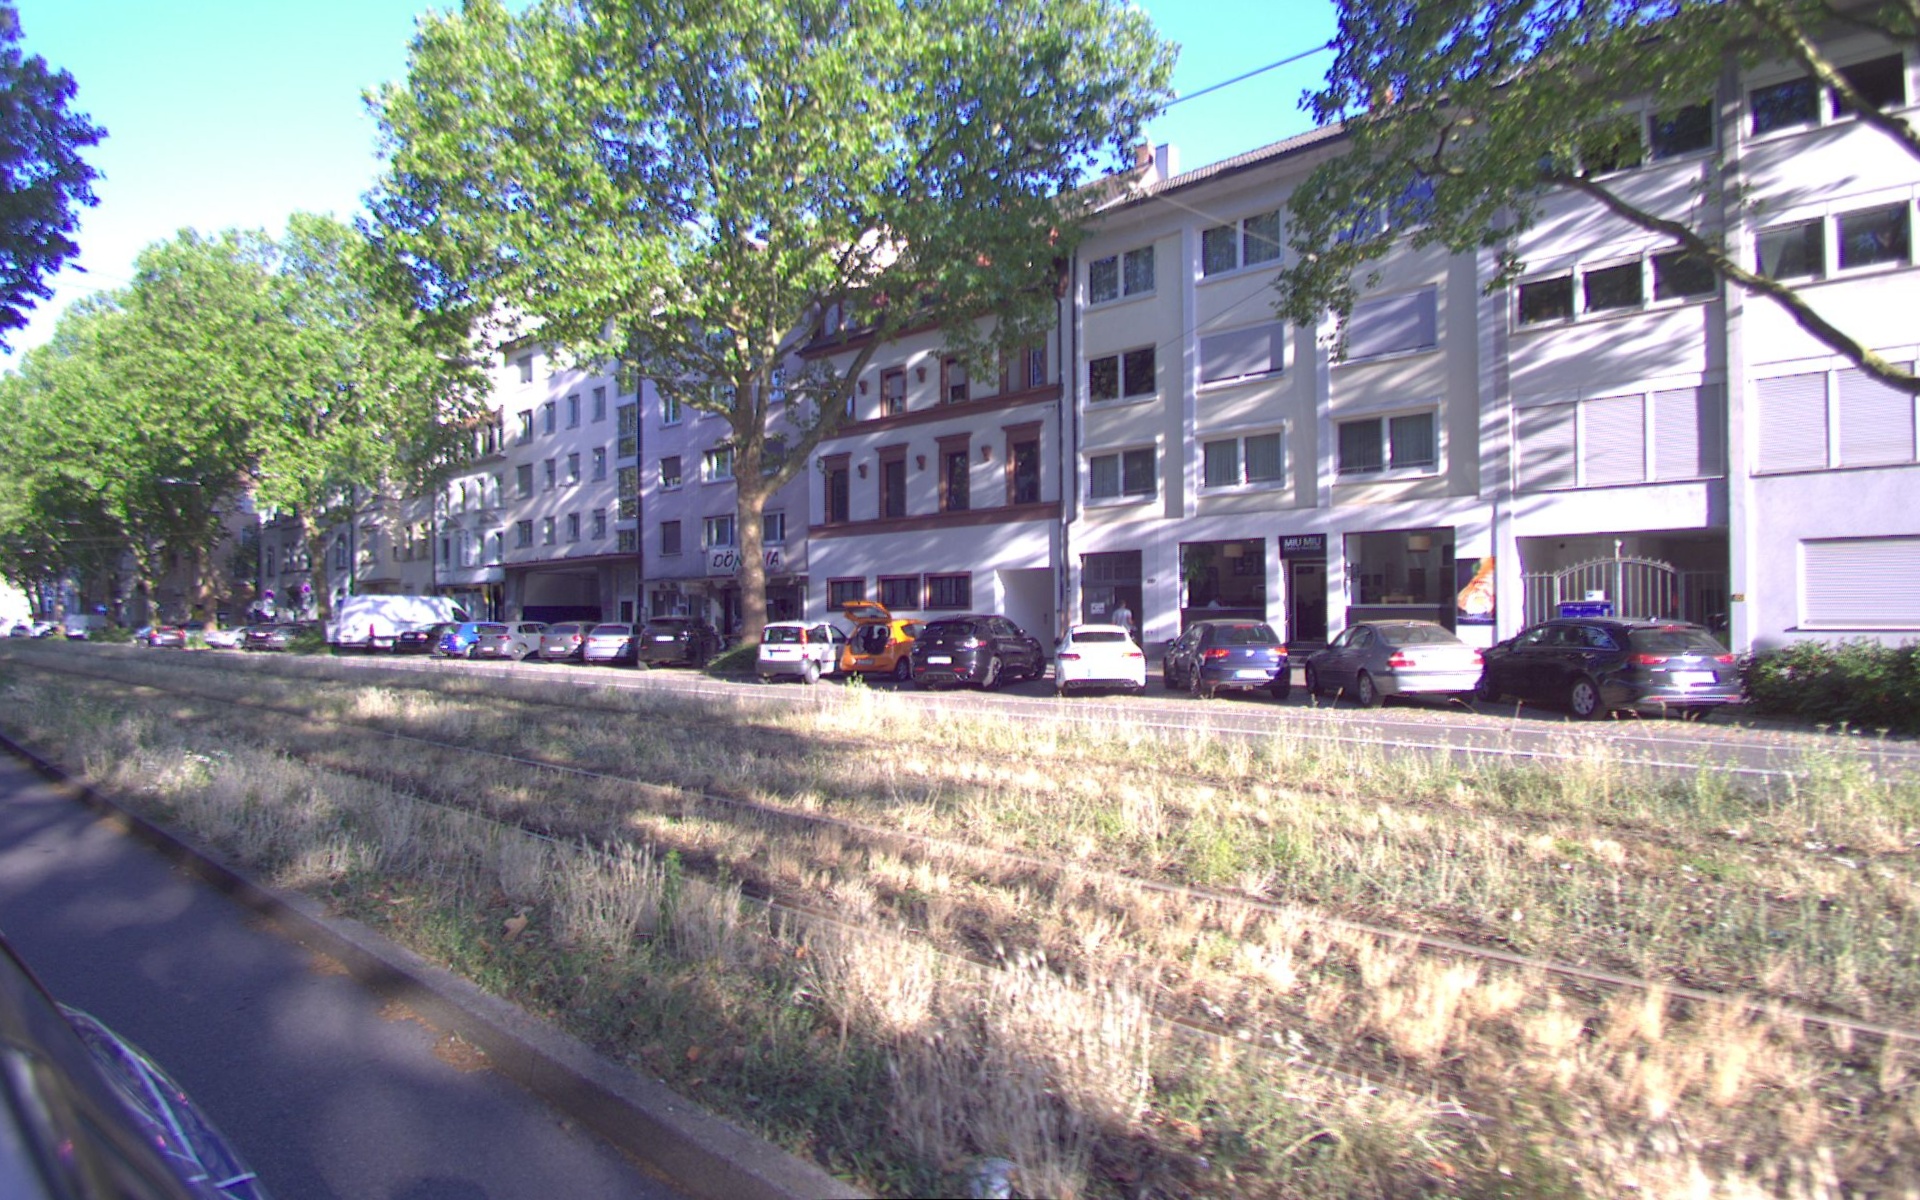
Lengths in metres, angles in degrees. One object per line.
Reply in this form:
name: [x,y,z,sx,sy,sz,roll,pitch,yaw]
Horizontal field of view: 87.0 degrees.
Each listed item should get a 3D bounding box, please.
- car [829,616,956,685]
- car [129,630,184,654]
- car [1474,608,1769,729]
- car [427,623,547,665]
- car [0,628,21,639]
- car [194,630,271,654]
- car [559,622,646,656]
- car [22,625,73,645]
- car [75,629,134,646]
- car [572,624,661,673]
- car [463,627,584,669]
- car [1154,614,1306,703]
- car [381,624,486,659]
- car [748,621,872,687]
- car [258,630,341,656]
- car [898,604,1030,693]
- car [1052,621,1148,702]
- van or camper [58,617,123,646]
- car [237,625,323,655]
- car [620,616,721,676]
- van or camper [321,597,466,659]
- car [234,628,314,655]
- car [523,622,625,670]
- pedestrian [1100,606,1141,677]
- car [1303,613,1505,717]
car: [-1.652,1.242,26.212,1.764,1.490,3.973,-1,1,21]
car: [-49.519,2.565,62.337,4.481,1.400,1.801,-2,-4,40]
car: [9.887,0.938,15.574,1.791,1.490,4.002,-2,1,-2]
car: [-19.000,1.724,40.790,1.854,1.431,3.950,-1,1,37]
car: [-134.592,4.795,143.448,4.000,1.431,1.972,-1,1,43]
car: [-44.679,2.550,62.253,1.806,1.400,3.669,-1,-1,10]
car: [-18.861,2.018,53.486,1.904,1.733,3.947,-1,-2,39]
car: [-99.744,3.817,110.693,1.971,2.029,4.001,-2,1,-2]
car: [-78.573,3.410,92.987,1.710,1.256,3.992,-2,2,7]
car: [-11.505,1.590,34.165,1.884,1.396,4.004,-2,0,-4]
car: [-16.751,1.801,39.022,1.941,1.503,3.963,-1,-2,27]
car: [5.201,1.069,20.022,1.776,1.452,4.002,-2,1,-2]
car: [-23.818,1.864,45.925,1.984,1.502,3.974,-1,-2,19]
car: [-3.754,1.331,26.138,1.643,1.460,4.344,-1,0,14]
car: [-35.972,2.336,55.258,1.779,1.368,4.001,0,-2,4]
car: [0.214,1.093,23.001,1.975,1.800,4.342,0,-3,15]
car: [2.814,1.199,21.067,1.700,1.343,4.199,-2,1,5]
van or camper: [-80.870,2.886,94.211,2.171,2.418,4.363,-2,1,0]
car: [-38.477,2.313,57.387,1.912,1.605,4.154,-1,-3,4]
car: [-8.914,1.372,31.517,1.972,1.673,4.000,-2,-1,0]
van or camper: [-26.177,1.274,47.060,2.163,2.666,5.928,-1,-1,20]
car: [-40.646,2.487,60.041,1.803,1.545,3.993,-1,-3,5]
car: [-13.717,1.602,36.225,1.735,1.433,3.992,-2,1,7]
pedestrian: [4.419,1.121,27.833,0.896,1.914,0.944,-1,-1,22]
car: [7.515,1.030,17.591,1.698,1.452,4.000,-2,1,0]
